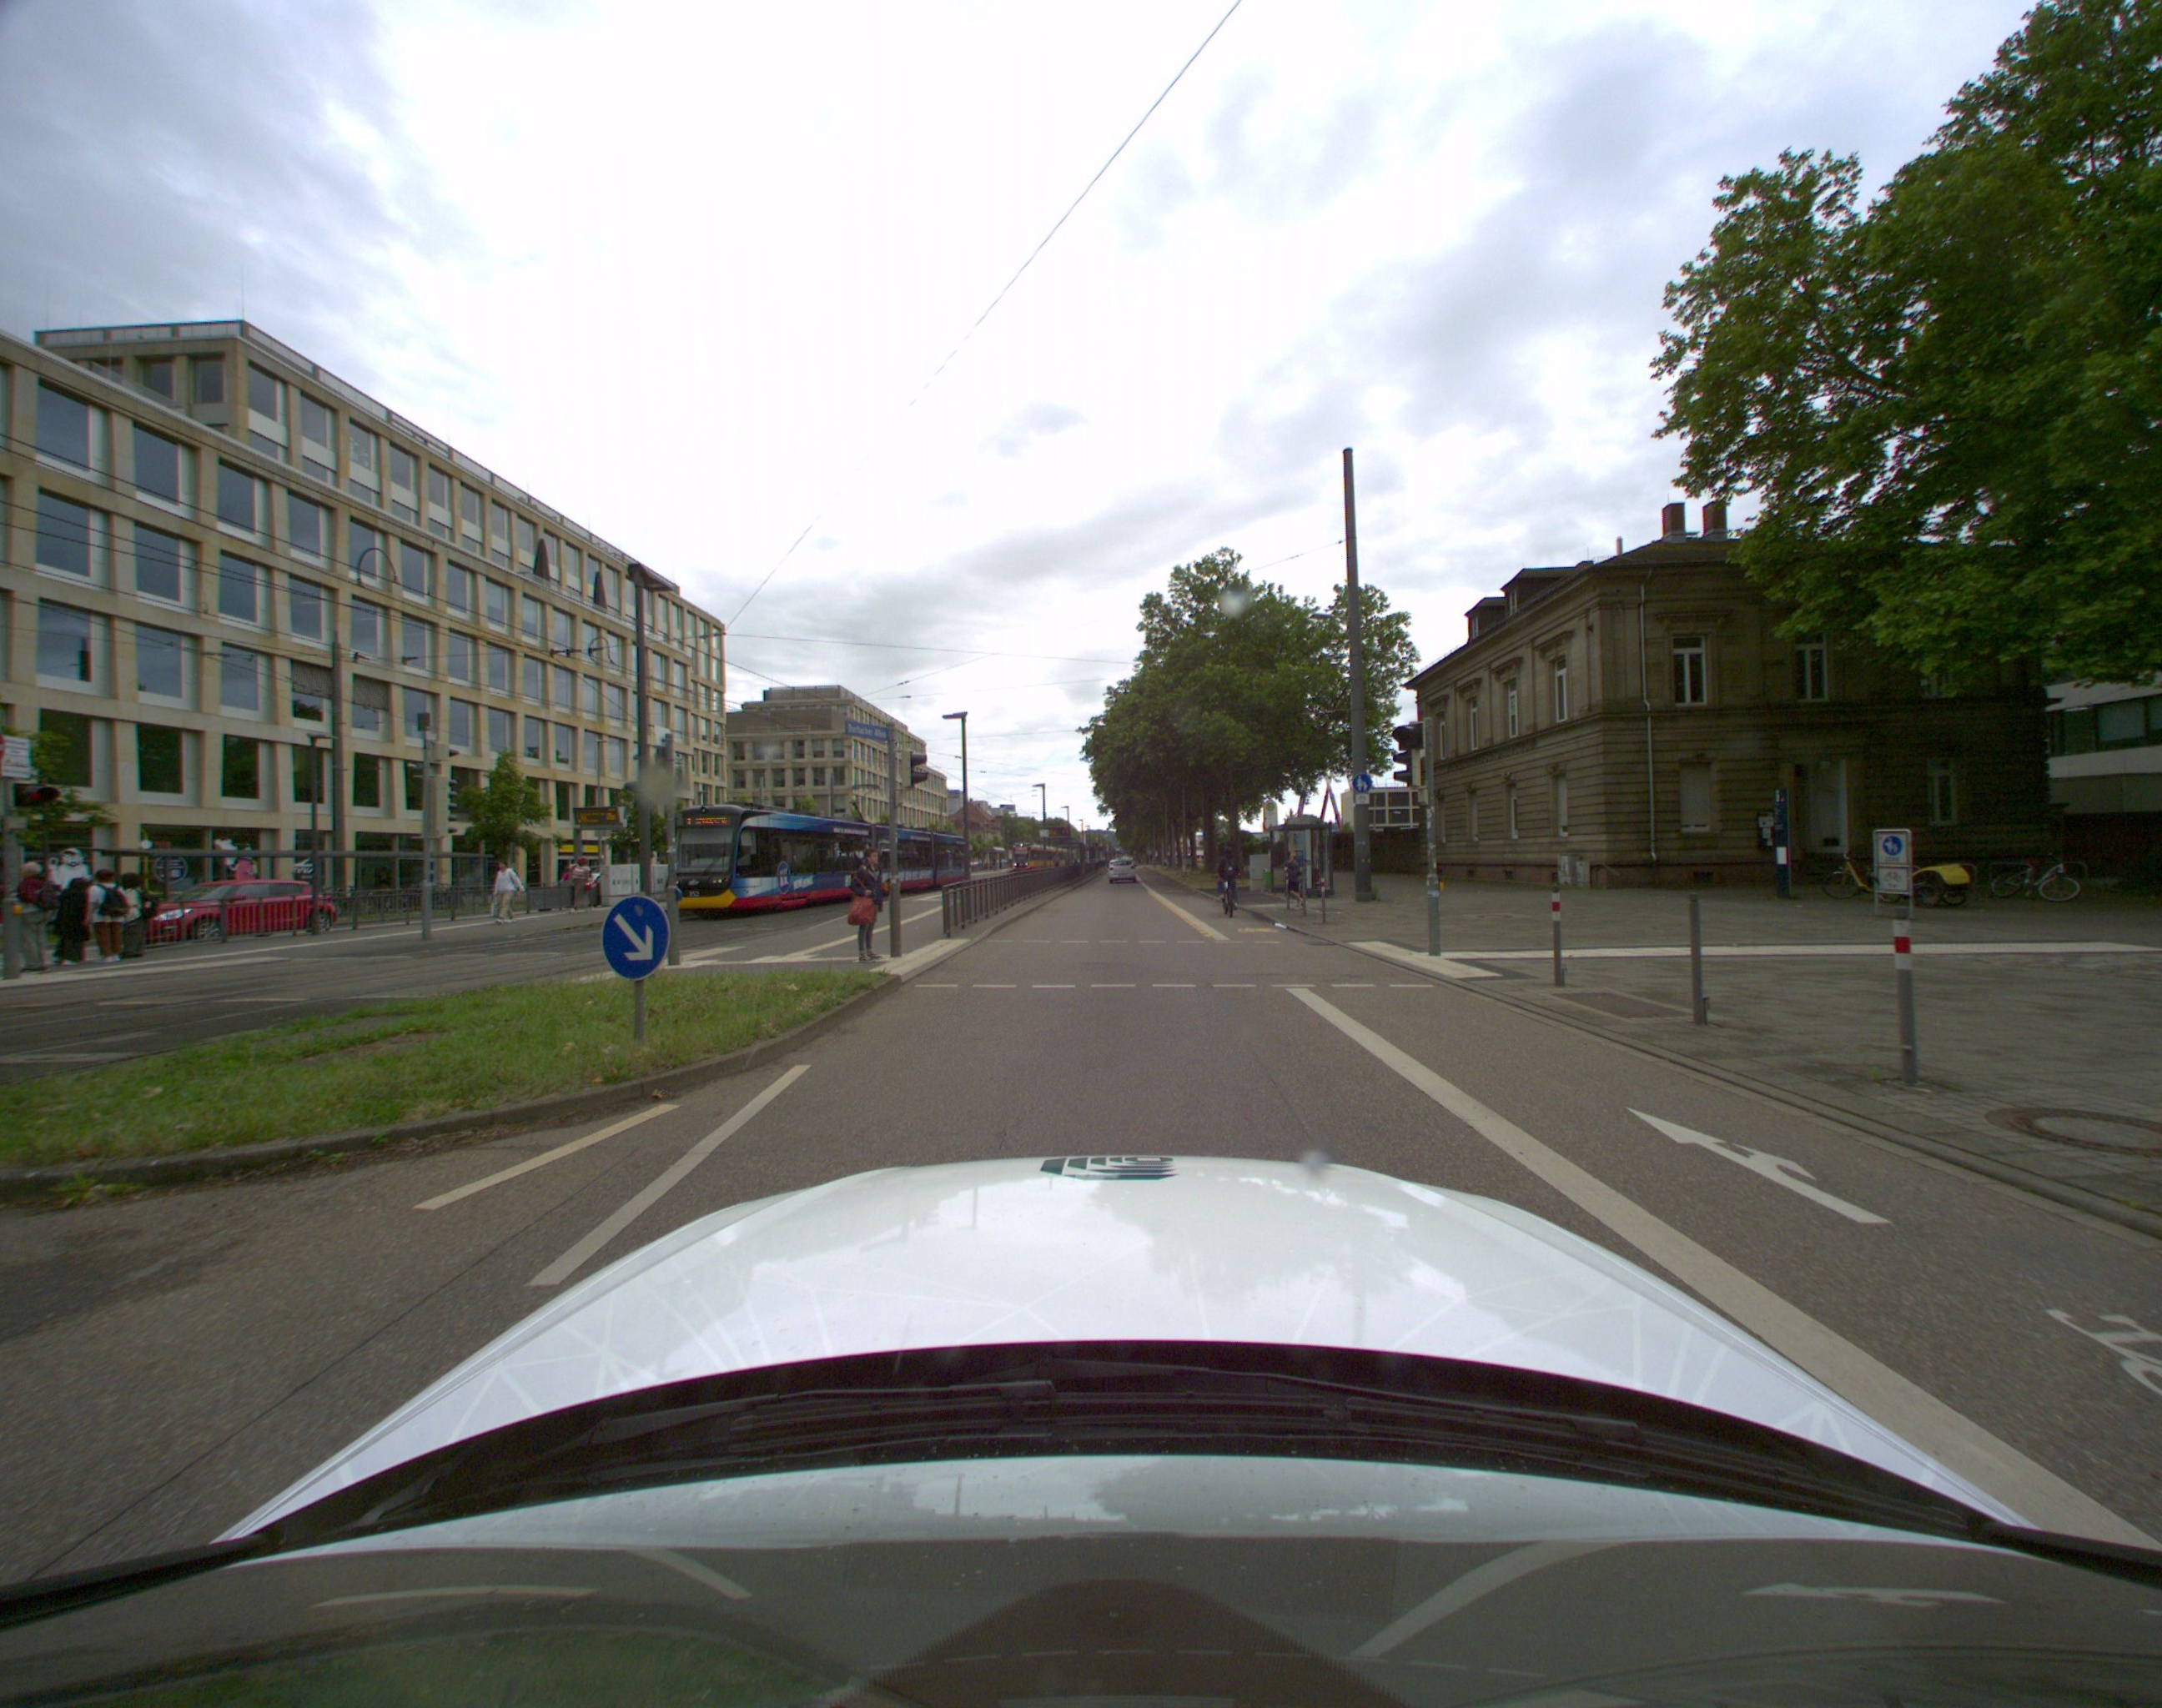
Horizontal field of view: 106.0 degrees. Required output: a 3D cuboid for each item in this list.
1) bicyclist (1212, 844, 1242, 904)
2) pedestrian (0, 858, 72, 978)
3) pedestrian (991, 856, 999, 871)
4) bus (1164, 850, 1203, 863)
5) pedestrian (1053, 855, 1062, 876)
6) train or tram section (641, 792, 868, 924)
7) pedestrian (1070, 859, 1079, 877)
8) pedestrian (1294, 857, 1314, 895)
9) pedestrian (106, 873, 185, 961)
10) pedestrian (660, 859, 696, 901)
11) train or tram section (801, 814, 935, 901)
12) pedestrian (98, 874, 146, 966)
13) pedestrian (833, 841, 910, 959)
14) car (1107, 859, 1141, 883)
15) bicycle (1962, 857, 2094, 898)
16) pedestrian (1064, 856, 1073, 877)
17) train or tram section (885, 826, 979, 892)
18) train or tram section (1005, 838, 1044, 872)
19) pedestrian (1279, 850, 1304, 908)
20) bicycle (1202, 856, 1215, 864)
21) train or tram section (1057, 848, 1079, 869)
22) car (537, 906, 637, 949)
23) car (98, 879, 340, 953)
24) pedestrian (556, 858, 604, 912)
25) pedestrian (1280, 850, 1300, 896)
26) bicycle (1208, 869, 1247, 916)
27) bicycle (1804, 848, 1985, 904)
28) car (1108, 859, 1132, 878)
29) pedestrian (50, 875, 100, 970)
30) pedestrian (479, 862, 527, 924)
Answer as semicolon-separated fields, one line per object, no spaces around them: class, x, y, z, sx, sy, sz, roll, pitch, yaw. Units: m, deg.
bicyclist;3.823;0.527;21.379;0.638;1.531;0.665;-2;-1;1
pedestrian;-17.075;1.020;13.099;0.858;1.868;0.740;-1;-2;-31
pedestrian;-10.459;1.142;99.250;0.708;1.795;1.161;-2;-1;2
bus;25.179;0.584;200.687;9.245;2.960;2.000;-2;-1;0
pedestrian;-2.057;1.027;71.204;0.670;1.793;1.109;-1;-1;-10
train or tram section;-10.808;0.212;28.968;2.843;3.641;11.771;-2;-1;2
pedestrian;-0.491;1.074;62.039;0.608;1.341;0.600;-2;-1;3
pedestrian;7.485;0.742;27.373;0.474;1.234;0.703;-2;-1;2
pedestrian;-17.693;1.168;15.422;0.716;1.598;0.704;-1;-1;-17
pedestrian;-15.733;1.017;31.800;0.839;1.586;0.915;-2;-1;16
train or tram section;-10.170;0.238;40.696;2.842;3.641;11.710;-2;-1;4
pedestrian;-17.344;1.174;14.731;0.707;1.598;0.528;-3;-2;37
pedestrian;-3.056;0.651;11.877;0.865;1.643;0.645;-1;-2;-39
car;2.842;1.073;53.090;1.875;1.453;4.007;-2;-1;7
bicycle;21.509;0.506;18.562;0.607;0.872;2.082;-2;0;1
pedestrian;-1.143;1.085;72.170;0.669;1.793;1.111;-2;-1;-5
train or tram section;-9.360;0.401;53.295;2.842;3.692;13.532;-2;-1;3
train or tram section;-6.953;0.212;101.649;3.223;3.862;11.321;-2;-1;4
pedestrian;5.740;0.679;22.214;0.547;1.528;0.641;-2;-1;20
bicycle;20.097;0.979;128.335;1.914;1.091;0.550;-3;-1;1
train or tram section;-2.568;1.037;168.955;3.166;4.179;14.747;-2;-1;4
car;-20.539;3.021;34.033;1.732;1.449;3.770;-2;0;2
car;-20.513;1.411;19.642;1.732;1.449;3.770;-2;0;2
pedestrian;-15.324;0.946;24.903;0.904;1.586;0.848;-2;-1;1
pedestrian;7.336;0.667;28.625;0.474;1.563;0.703;-2;-1;2
bicycle;3.819;0.986;21.387;0.650;1.150;2.283;-2;-1;1
bicycle;18.710;0.449;18.918;0.897;1.068;3.408;-2;2;1
car;3.307;1.206;68.984;1.832;1.552;4.005;-1;-1;5
pedestrian;-17.673;1.183;14.309;0.707;1.598;0.528;-3;-2;37
pedestrian;-15.456;1.032;21.800;0.705;1.586;0.766;-2;-1;1
